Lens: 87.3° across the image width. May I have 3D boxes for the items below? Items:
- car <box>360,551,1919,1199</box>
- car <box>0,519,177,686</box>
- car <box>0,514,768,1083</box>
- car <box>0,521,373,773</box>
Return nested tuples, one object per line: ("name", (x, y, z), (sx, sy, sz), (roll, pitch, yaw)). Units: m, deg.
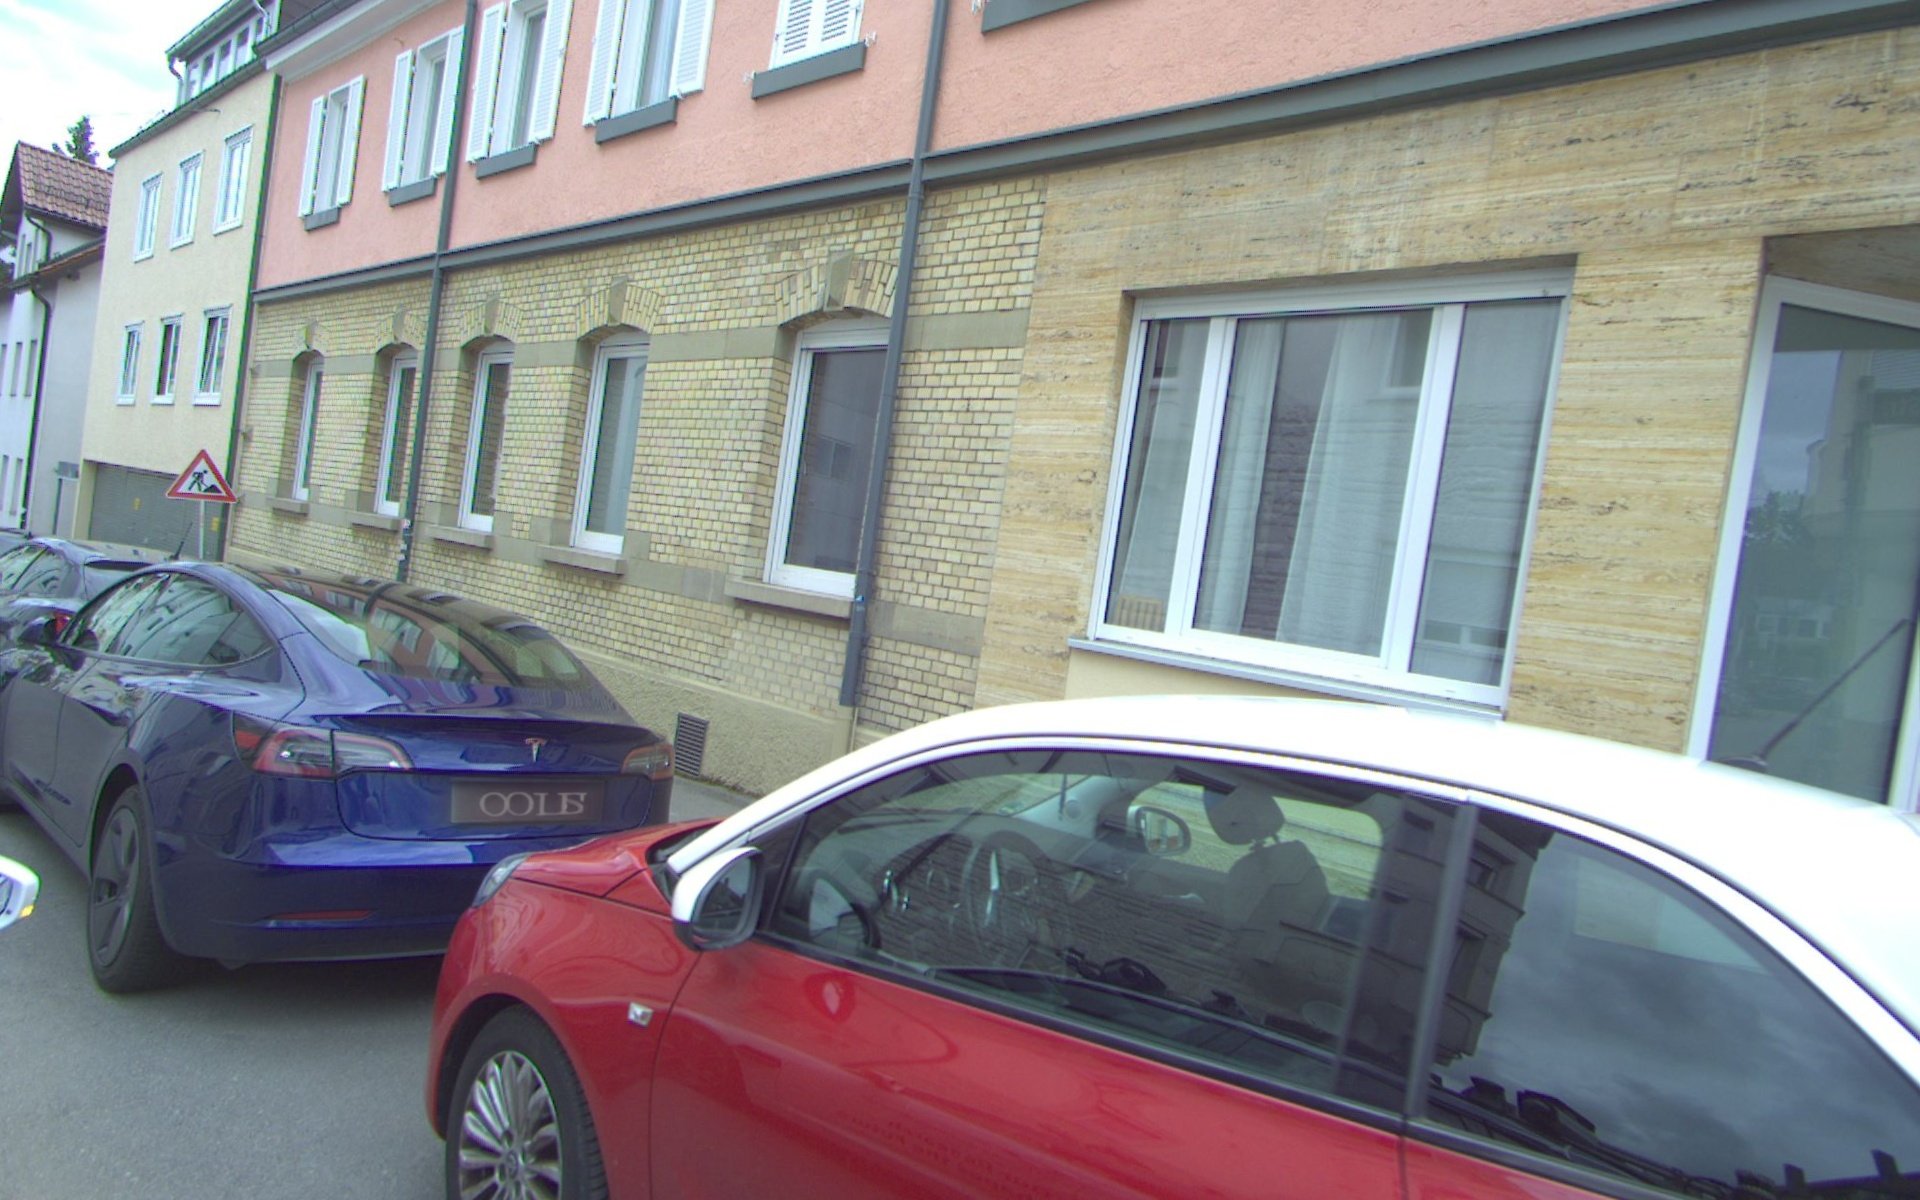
("car", (0.539, 0.853, 2.039), (3.570, 1.497, 1.668), (6, -1, 37))
("car", (-10.168, -0.106, 10.571), (4.507, 1.419, 1.854), (5, -4, 37))
("car", (-3.084, 0.519, 4.743), (4.229, 1.419, 1.853), (6, -3, 39))
("car", (-6.523, 0.246, 7.788), (3.905, 1.419, 1.855), (6, -3, 35))
